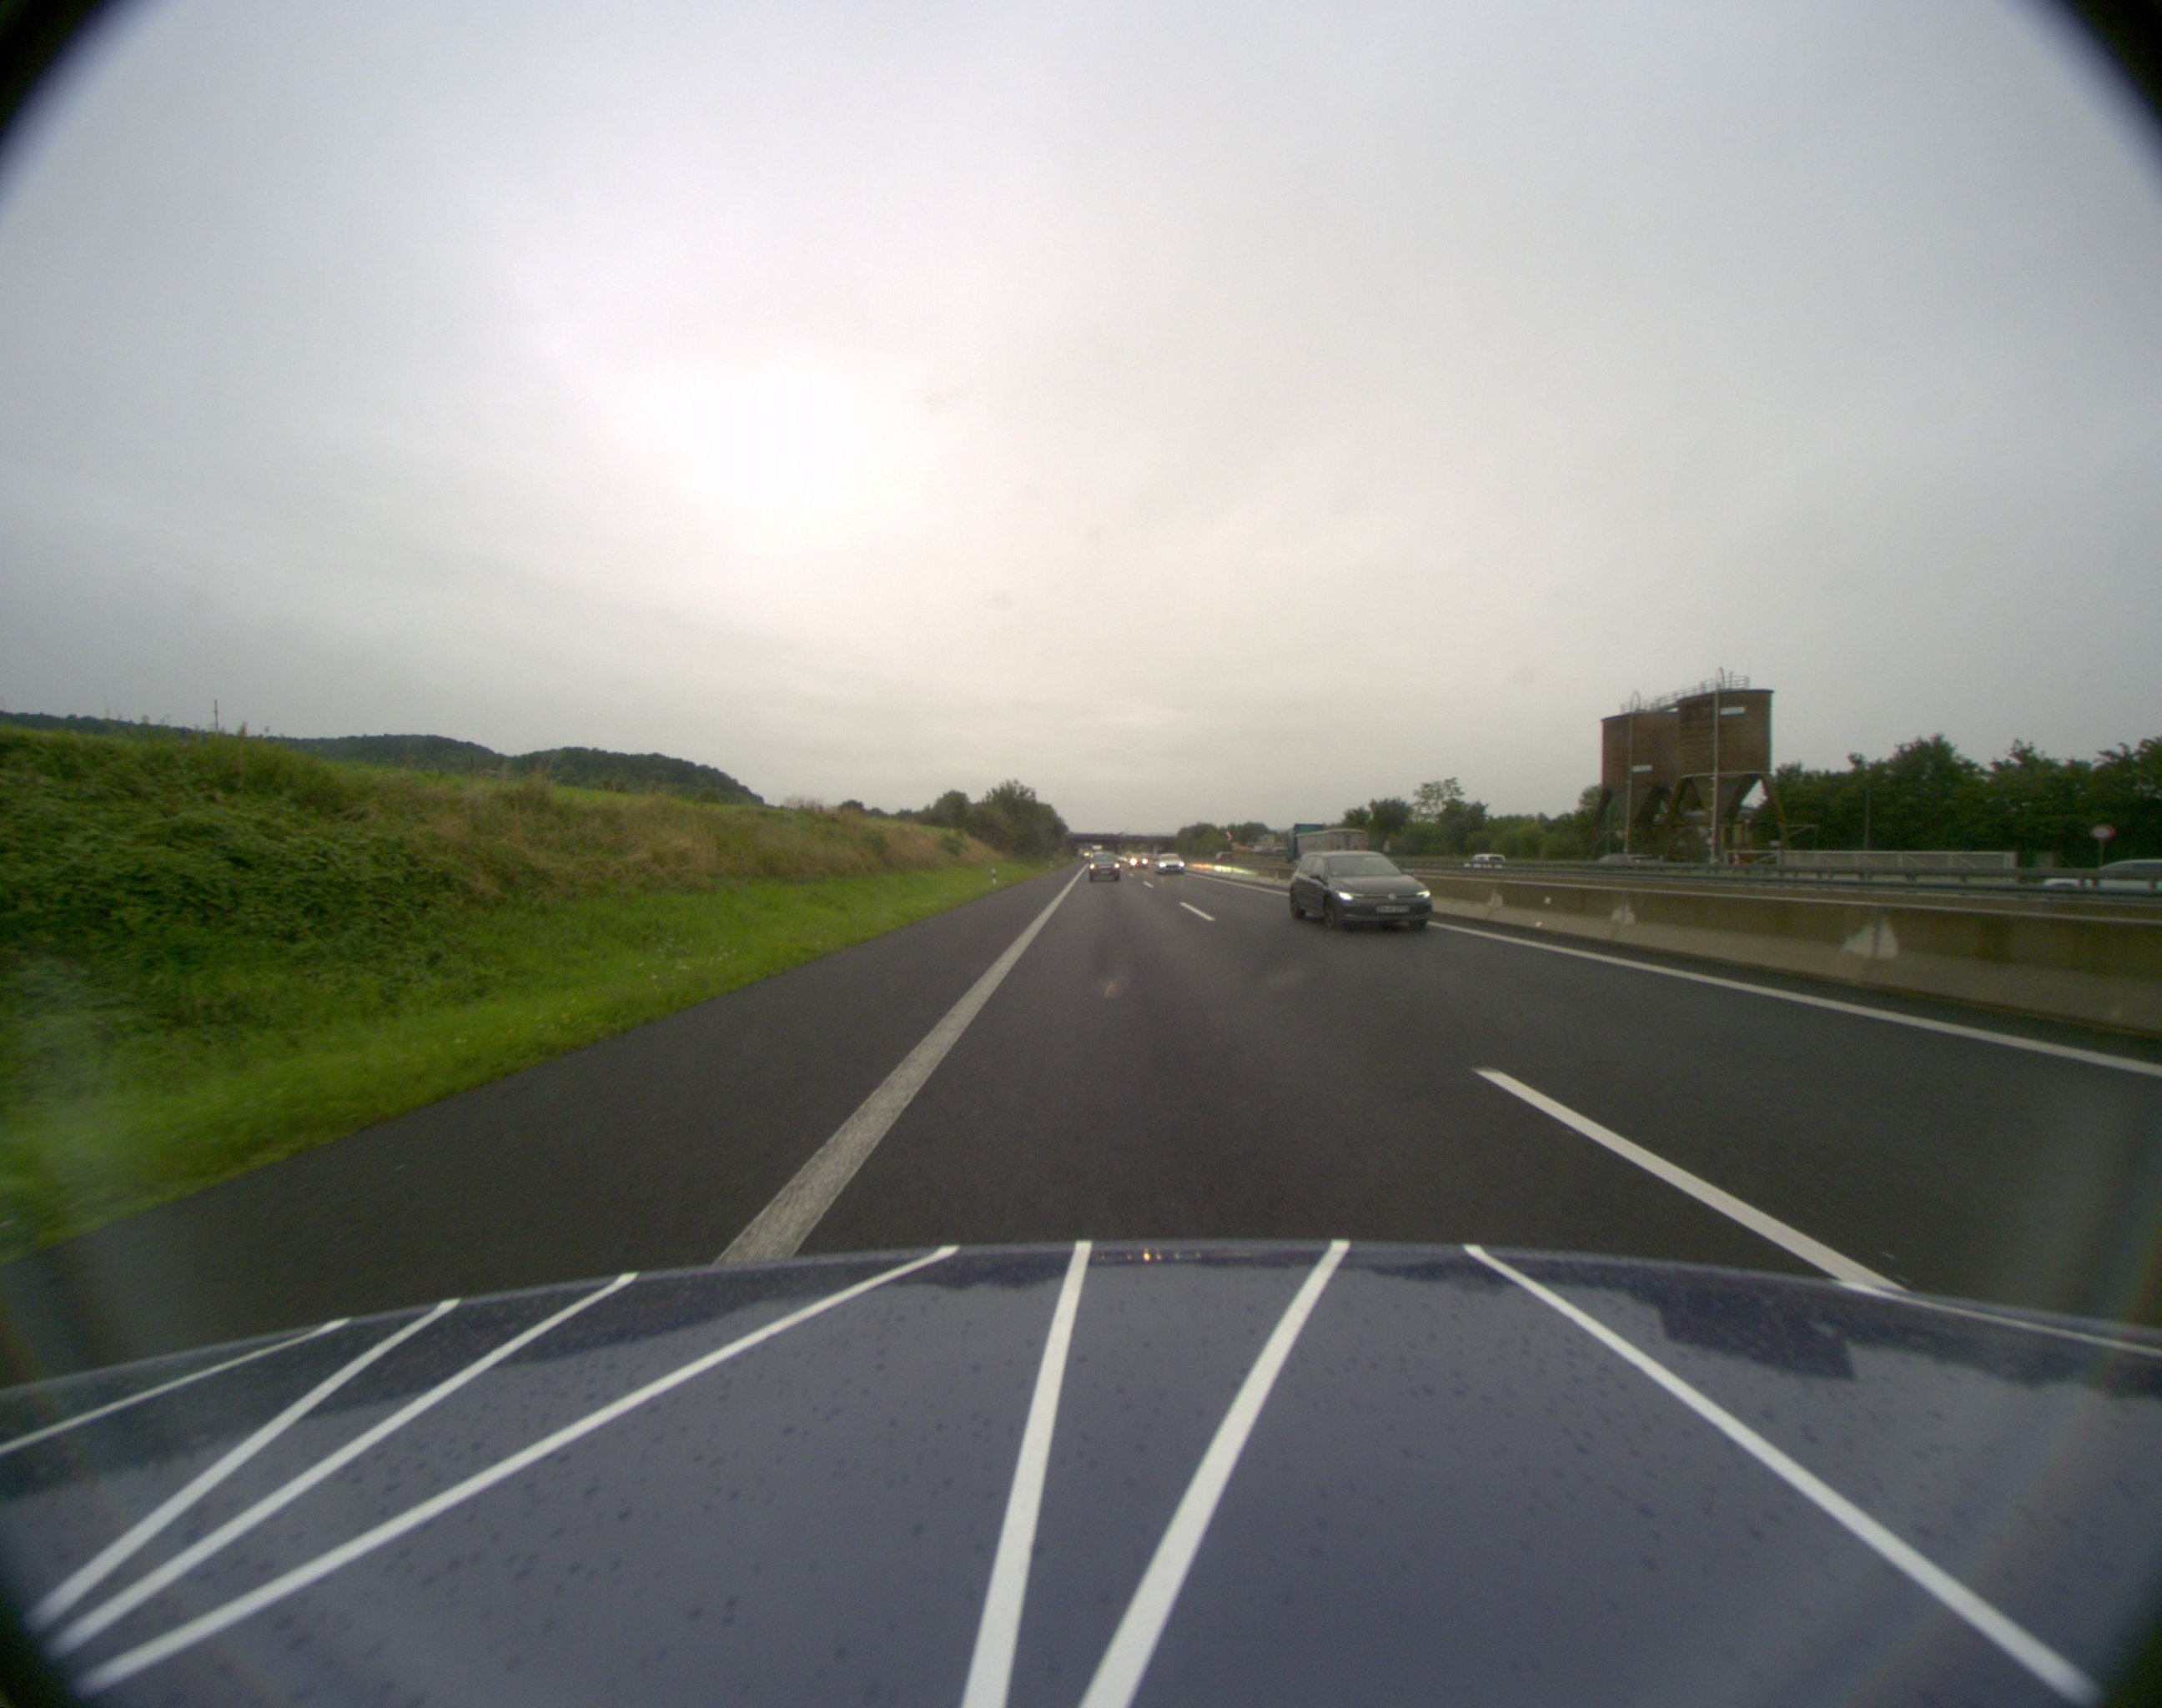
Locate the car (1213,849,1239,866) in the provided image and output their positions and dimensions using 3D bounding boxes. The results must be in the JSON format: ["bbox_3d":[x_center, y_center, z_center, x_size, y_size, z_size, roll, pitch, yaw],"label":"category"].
[{"bbox_3d":[14.935,0.351,78.422,1.785,1.622,3.999,0,0,-1],"label":"car"}]

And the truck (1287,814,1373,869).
[{"bbox_3d":[18.720,-0.958,58.238,2.976,3.689,11.909,-2,1,2],"label":"truck"}]

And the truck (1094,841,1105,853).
[{"bbox_3d":[4.879,-1.784,200.875,2.728,3.098,7.960,-3,0,1],"label":"truck"}]

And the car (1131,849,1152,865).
[{"bbox_3d":[6.076,0.297,76.810,1.835,1.417,4.368,-4,0,2],"label":"car"}]

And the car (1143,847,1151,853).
[{"bbox_3d":[18.052,-1.005,207.790,1.911,1.649,3.999,-1,0,-1],"label":"car"}]

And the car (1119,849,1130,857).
[{"bbox_3d":[8.232,-0.133,143.584,1.941,1.341,4.000,-3,0,1],"label":"car"}]

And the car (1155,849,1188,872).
[{"bbox_3d":[6.556,0.448,55.628,1.998,1.582,4.817,-2,0,2],"label":"car"}]

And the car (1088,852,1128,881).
[{"bbox_3d":[1.623,0.692,45.119,2.242,1.565,4.817,-2,0,3],"label":"car"}]

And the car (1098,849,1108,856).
[{"bbox_3d":[4.424,-0.349,154.551,1.941,1.341,4.000,-3,0,1],"label":"car"}]

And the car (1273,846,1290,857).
[{"bbox_3d":[39.117,-0.458,148.209,2.075,2.002,4.550,0,0,0],"label":"car"}]

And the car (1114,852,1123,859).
[{"bbox_3d":[8.342,0.292,169.437,1.941,1.341,4.000,-3,0,1],"label":"car"}]

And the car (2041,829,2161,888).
[{"bbox_3d":[33.462,0.118,23.461,1.998,1.751,4.505,-1,0,1],"label":"car"}]

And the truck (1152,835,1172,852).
[{"bbox_3d":[22.514,-2.945,211.510,3.786,4.451,12.891,-1,0,-1],"label":"truck"}]

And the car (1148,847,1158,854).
[{"bbox_3d":[17.334,-0.742,183.734,1.911,1.649,3.999,-1,0,-1],"label":"car"}]

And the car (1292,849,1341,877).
[{"bbox_3d":[13.976,0.492,45.256,1.717,1.587,4.000,-1,0,1],"label":"car"}]

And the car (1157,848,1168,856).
[{"bbox_3d":[17.291,-0.501,161.669,1.911,1.649,3.999,-1,0,-1],"label":"car"}]

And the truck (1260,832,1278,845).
[{"bbox_3d":[47.960,-3.900,194.132,3.252,3.197,7.606,-2,0,5],"label":"truck"}]

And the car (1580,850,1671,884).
[{"bbox_3d":[30.404,0.683,42.592,1.907,1.798,4.461,-1,0,1],"label":"car"}]

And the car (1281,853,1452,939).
[{"bbox_3d":[5.509,0.723,15.308,1.835,1.417,4.367,-2,0,1],"label":"car"}]

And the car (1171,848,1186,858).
[{"bbox_3d":[16.219,-0.127,126.037,1.911,1.649,3.999,-1,0,-1],"label":"car"}]

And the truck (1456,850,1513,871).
[{"bbox_3d":[34.661,0.488,65.434,1.999,1.636,5.405,-3,0,0],"label":"truck"}]
